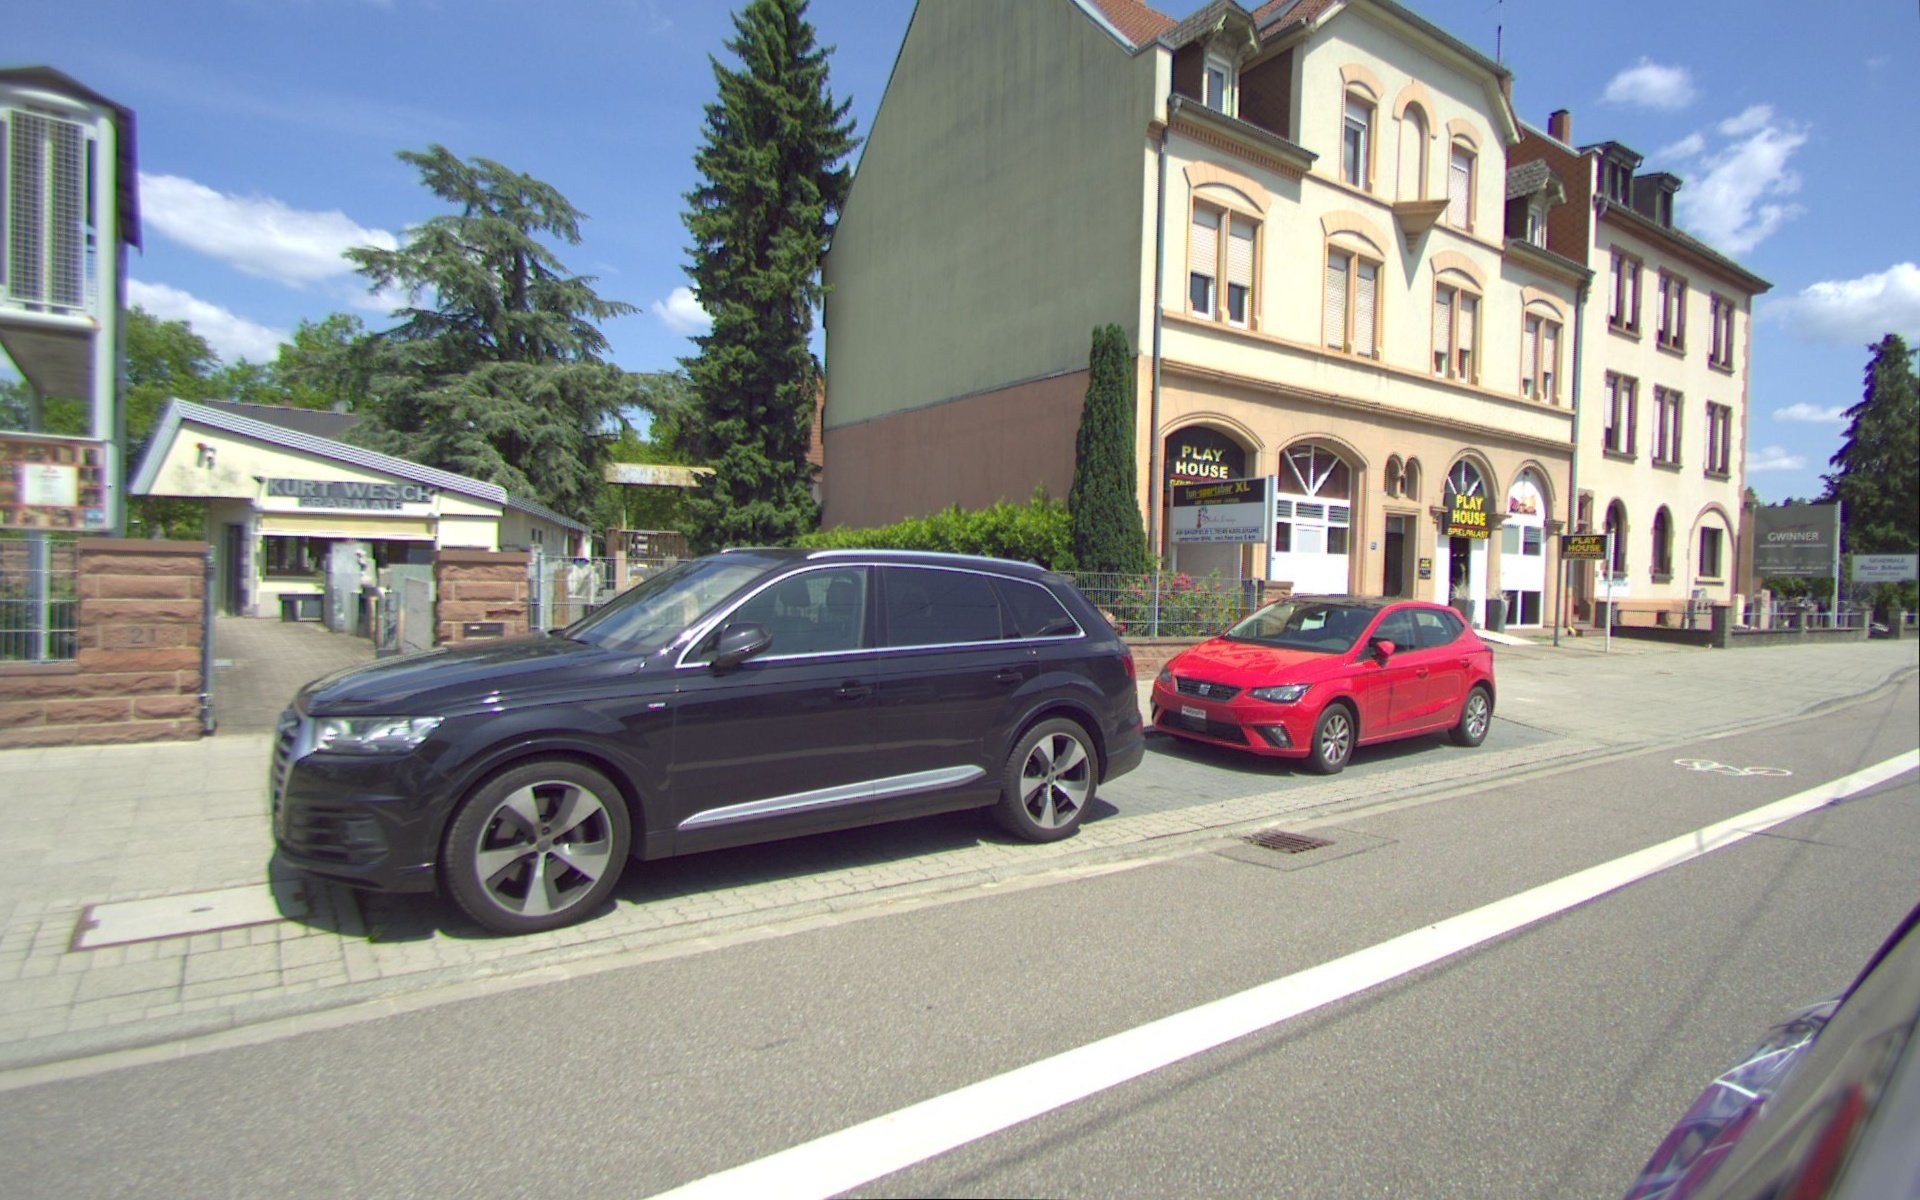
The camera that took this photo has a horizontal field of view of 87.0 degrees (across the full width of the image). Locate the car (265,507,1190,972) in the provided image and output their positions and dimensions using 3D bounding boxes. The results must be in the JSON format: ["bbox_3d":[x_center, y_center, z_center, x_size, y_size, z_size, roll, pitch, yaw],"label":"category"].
[{"bbox_3d":[-1.061,0.473,5.897,4.905,1.707,1.870,0,2,-36],"label":"car"}]

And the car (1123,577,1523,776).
[{"bbox_3d":[3.609,0.576,9.769,3.998,1.470,1.717,0,4,-38],"label":"car"}]
